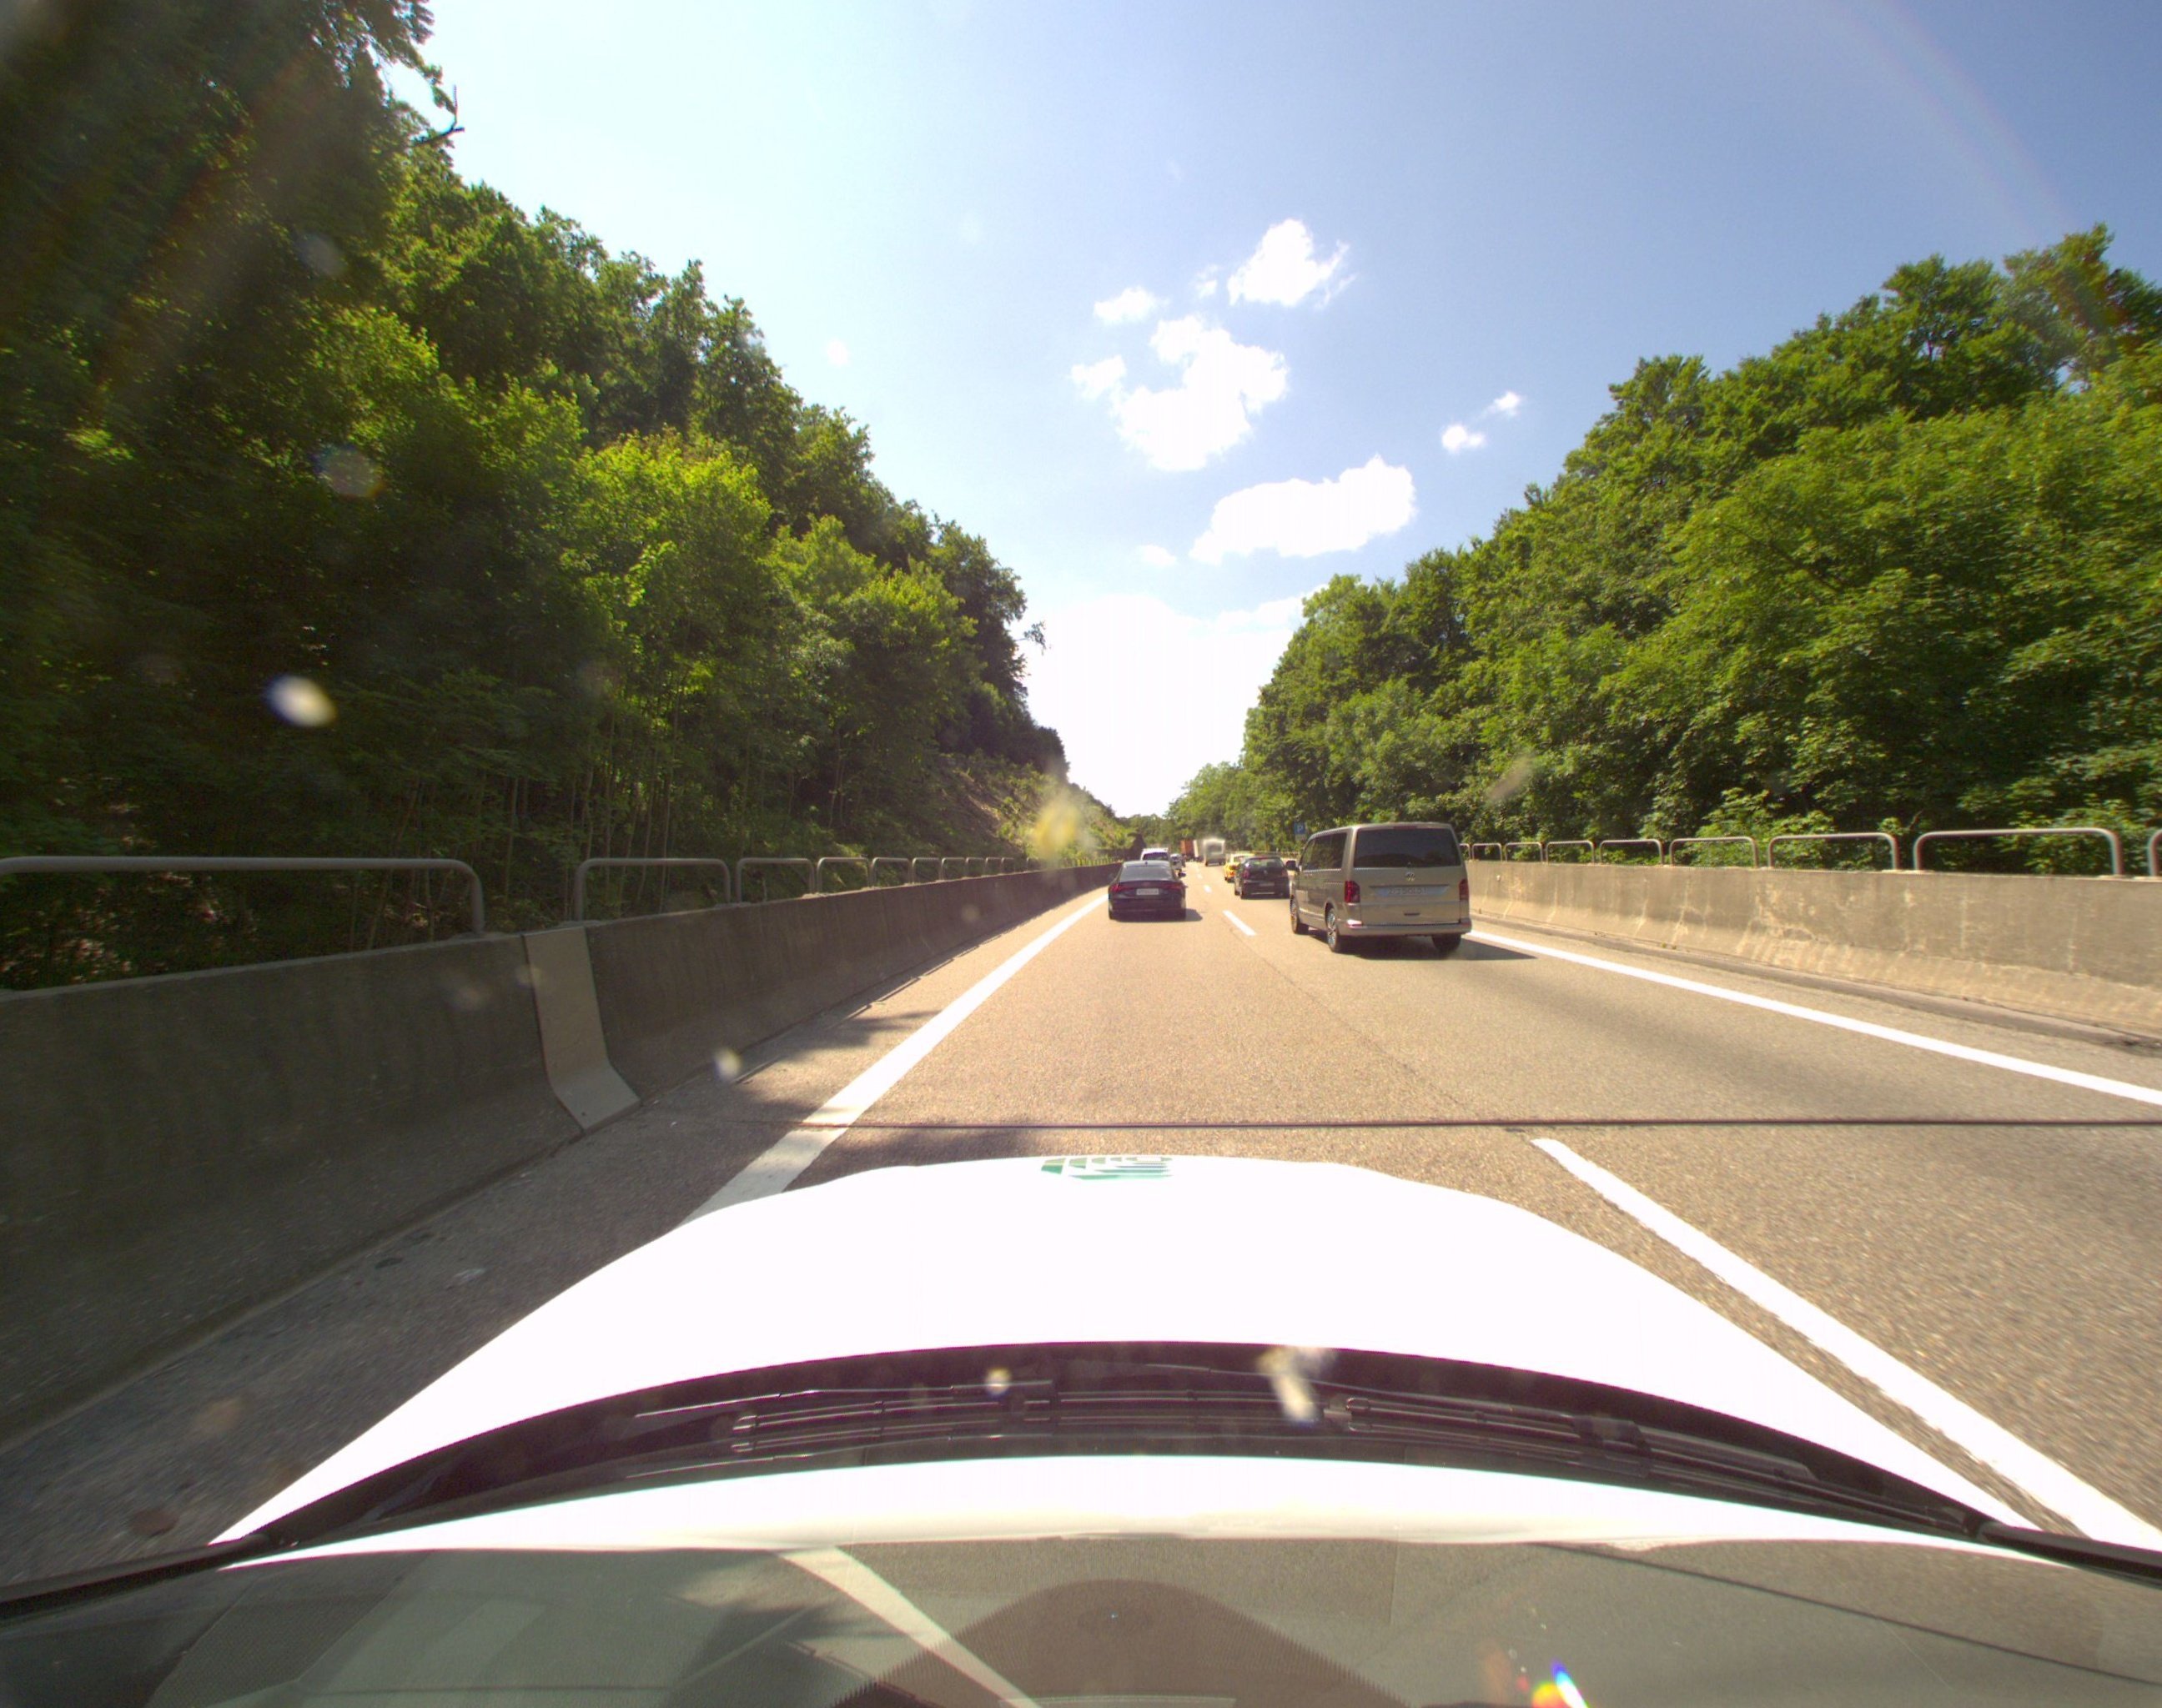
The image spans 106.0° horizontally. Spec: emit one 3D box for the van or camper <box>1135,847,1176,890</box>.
[{"bbox_3d":[3.669,0.680,39.937,1.844,1.942,4.171,-2,0,5],"label":"van or camper"}]

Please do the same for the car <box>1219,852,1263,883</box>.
[{"bbox_3d":[8.247,0.654,42.170,1.800,1.478,4.087,-2,0,5],"label":"car"}]

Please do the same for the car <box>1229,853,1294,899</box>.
[{"bbox_3d":[6.211,0.720,28.356,1.677,1.458,4.006,-2,0,5],"label":"car"}]

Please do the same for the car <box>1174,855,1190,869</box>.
[{"bbox_3d":[11.809,0.976,95.566,1.742,1.571,3.778,-2,0,6],"label":"car"}]

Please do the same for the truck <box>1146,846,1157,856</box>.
[{"bbox_3d":[15.075,-0.574,175.286,1.987,2.013,3.999,-1,0,0],"label":"truck"}]

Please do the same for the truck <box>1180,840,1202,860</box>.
[{"bbox_3d":[19.687,-0.631,146.356,3.151,3.468,8.225,-1,0,2],"label":"truck"}]

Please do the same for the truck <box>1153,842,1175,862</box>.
[{"bbox_3d":[18.950,-0.405,186.013,3.702,4.504,7.715,-1,0,-3],"label":"truck"}]

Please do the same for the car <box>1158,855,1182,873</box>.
[{"bbox_3d":[7.970,0.883,73.369,1.887,1.584,3.773,-1,0,3],"label":"car"}]

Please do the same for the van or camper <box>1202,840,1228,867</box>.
[{"bbox_3d":[14.668,-0.040,89.235,2.589,2.855,6.349,-2,0,8],"label":"van or camper"}]

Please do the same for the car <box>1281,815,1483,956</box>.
[{"bbox_3d":[4.783,0.454,13.758,1.932,1.931,4.700,-2,0,4],"label":"car"}]

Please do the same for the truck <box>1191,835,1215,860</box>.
[{"bbox_3d":[18.679,-0.932,125.182,2.912,3.687,7.731,-1,0,4],"label":"truck"}]

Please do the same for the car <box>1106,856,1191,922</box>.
[{"bbox_3d":[1.637,0.813,21.043,1.898,1.489,4.380,-2,0,1],"label":"car"}]
